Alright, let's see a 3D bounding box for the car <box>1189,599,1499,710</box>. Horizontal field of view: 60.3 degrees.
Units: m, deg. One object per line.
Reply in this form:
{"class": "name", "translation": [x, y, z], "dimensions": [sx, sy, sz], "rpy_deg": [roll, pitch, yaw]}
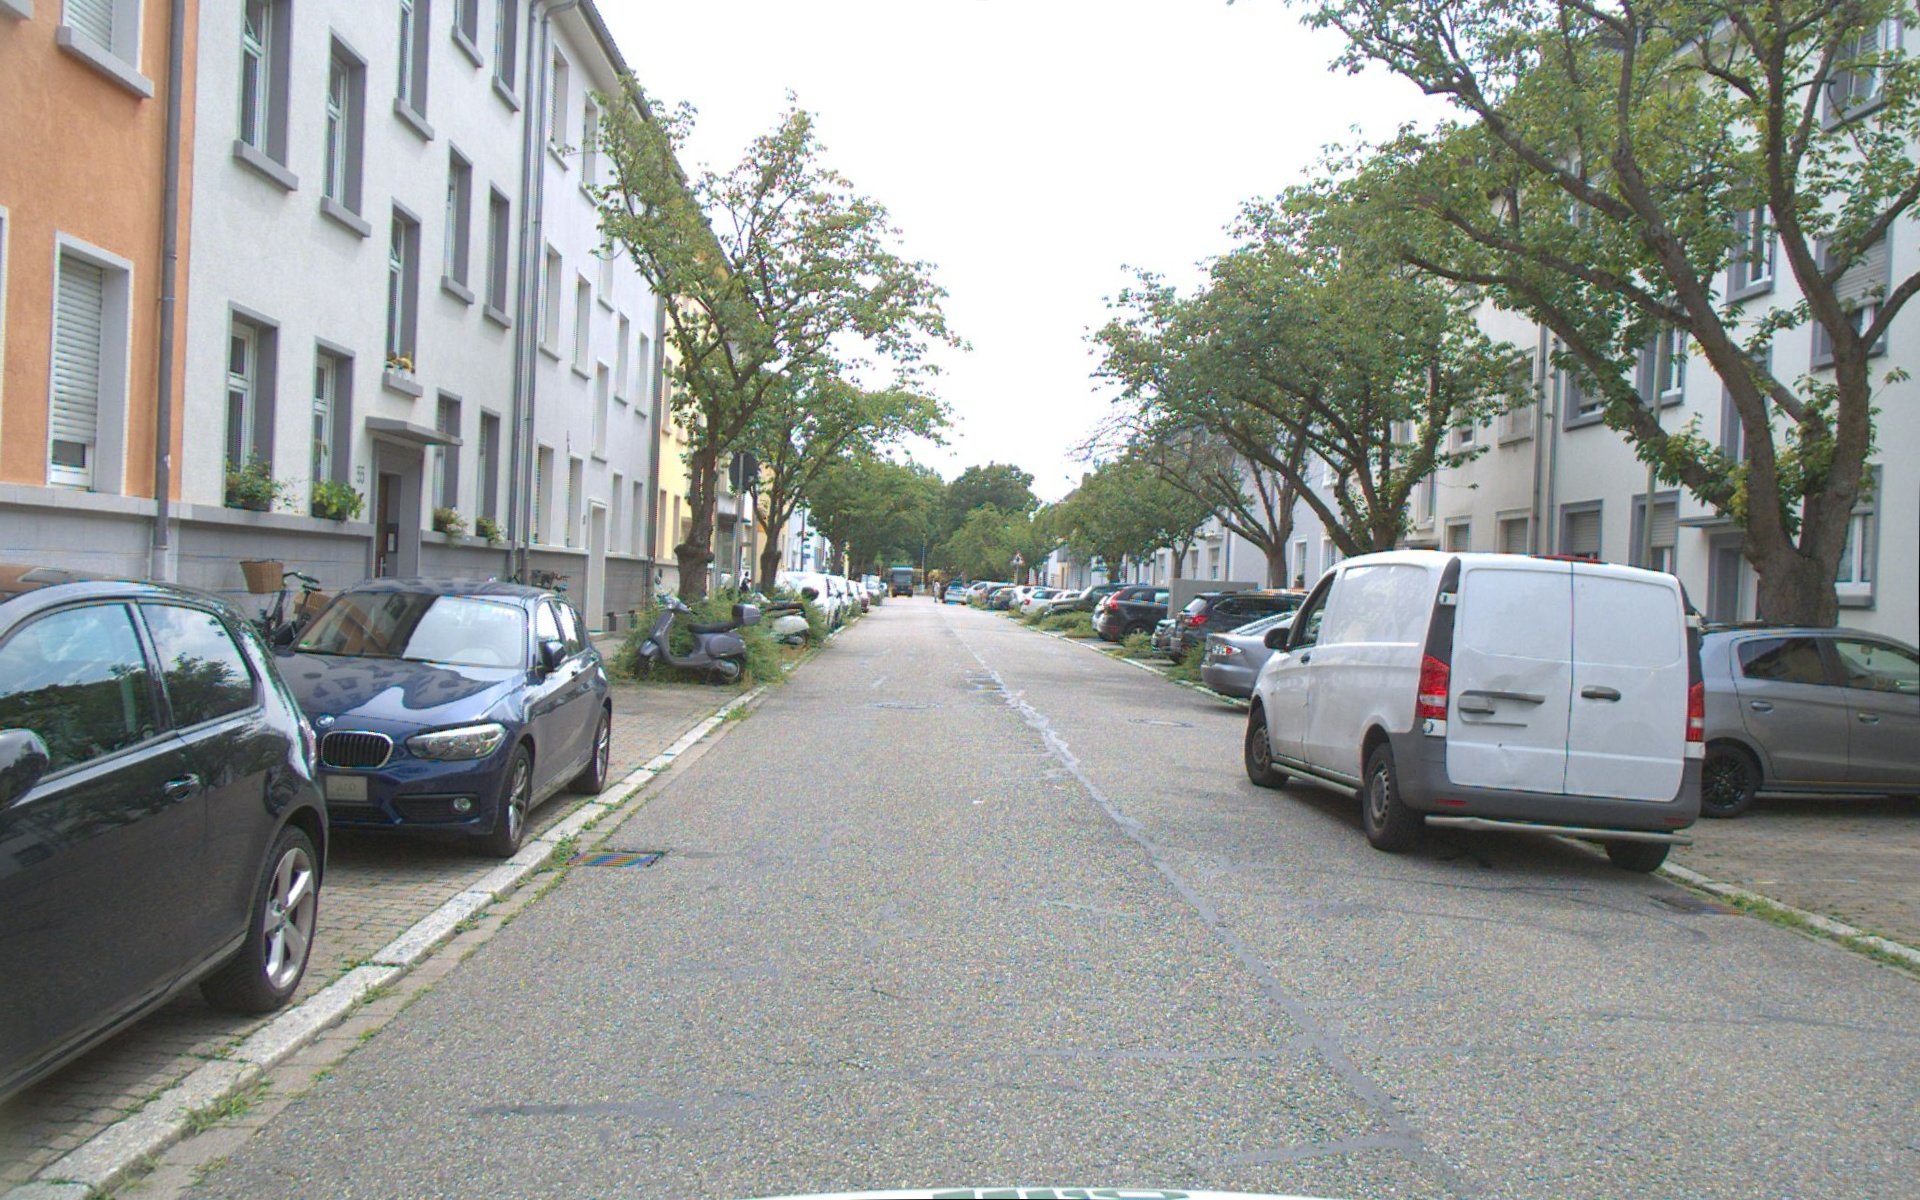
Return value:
{"class": "car", "translation": [5.294, 0.733, 23.135], "dimensions": [3.907, 1.480, 1.766], "rpy_deg": [0, 0, -3]}

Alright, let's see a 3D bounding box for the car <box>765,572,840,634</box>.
{"class": "car", "translation": [-4.263, 0.077, 45.215], "dimensions": [1.722, 1.583, 4.254], "rpy_deg": [2, 0, -2]}

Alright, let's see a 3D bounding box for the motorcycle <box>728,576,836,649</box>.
{"class": "motorcycle", "translation": [-3.739, 0.260, 34.836], "dimensions": [2.206, 1.507, 0.591], "rpy_deg": [0, 0, -29]}

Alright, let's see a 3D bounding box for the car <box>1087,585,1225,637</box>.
{"class": "car", "translation": [5.960, 0.333, 50.559], "dimensions": [3.909, 1.557, 1.766], "rpy_deg": [0, 0, -5]}

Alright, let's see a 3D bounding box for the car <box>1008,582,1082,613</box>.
{"class": "car", "translation": [4.555, -0.144, 88.711], "dimensions": [3.844, 1.661, 1.867], "rpy_deg": [0, 0, -1]}

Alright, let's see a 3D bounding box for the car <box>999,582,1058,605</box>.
{"class": "car", "translation": [4.314, -0.420, 104.362], "dimensions": [3.671, 1.389, 1.773], "rpy_deg": [0, 0, -1]}

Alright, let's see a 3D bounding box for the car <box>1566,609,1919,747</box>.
{"class": "car", "translation": [9.019, 0.840, 18.465], "dimensions": [3.907, 1.445, 1.637], "rpy_deg": [0, 0, -3]}

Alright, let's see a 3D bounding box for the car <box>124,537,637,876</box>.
{"class": "car", "translation": [-3.213, 0.520, 10.117], "dimensions": [1.800, 1.509, 4.118], "rpy_deg": [5, 0, -4]}

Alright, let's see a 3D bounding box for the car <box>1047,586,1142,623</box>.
{"class": "car", "translation": [5.385, 0.184, 66.342], "dimensions": [3.555, 1.480, 1.771], "rpy_deg": [0, 0, -6]}

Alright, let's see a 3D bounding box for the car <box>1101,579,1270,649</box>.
{"class": "car", "translation": [5.818, 0.343, 43.022], "dimensions": [4.128, 1.766, 1.904], "rpy_deg": [0, 0, 0]}

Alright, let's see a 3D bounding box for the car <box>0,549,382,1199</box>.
{"class": "car", "translation": [-2.995, 0.601, 4.141], "dimensions": [1.800, 1.509, 4.090], "rpy_deg": [4, 0, -4]}

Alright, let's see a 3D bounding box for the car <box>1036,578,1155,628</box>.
{"class": "car", "translation": [5.147, 0.119, 63.326], "dimensions": [4.432, 1.890, 1.793], "rpy_deg": [0, 0, 0]}

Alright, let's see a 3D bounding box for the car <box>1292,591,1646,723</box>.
{"class": "car", "translation": [6.259, 0.683, 20.595], "dimensions": [3.907, 1.563, 1.637], "rpy_deg": [0, 0, -3]}

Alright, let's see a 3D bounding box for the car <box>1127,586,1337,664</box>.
{"class": "car", "translation": [5.775, 0.521, 35.408], "dimensions": [4.132, 1.626, 1.902], "rpy_deg": [0, 0, -4]}

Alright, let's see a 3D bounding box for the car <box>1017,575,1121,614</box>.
{"class": "car", "translation": [4.895, -0.253, 74.677], "dimensions": [4.521, 1.693, 1.892], "rpy_deg": [0, 0, -1]}

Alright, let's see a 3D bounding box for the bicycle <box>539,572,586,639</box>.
{"class": "bicycle", "translation": [-6.263, 0.086, 26.120], "dimensions": [0.411, 1.024, 1.434], "rpy_deg": [0, 0, -1]}

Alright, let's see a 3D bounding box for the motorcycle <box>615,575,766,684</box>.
{"class": "motorcycle", "translation": [-3.668, 0.393, 22.486], "dimensions": [1.977, 1.432, 0.790], "rpy_deg": [0, 0, -13]}

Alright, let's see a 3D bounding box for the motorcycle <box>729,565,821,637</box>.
{"class": "motorcycle", "translation": [-4.607, 0.007, 41.140], "dimensions": [0.932, 1.705, 2.433], "rpy_deg": [2, 0, -45]}

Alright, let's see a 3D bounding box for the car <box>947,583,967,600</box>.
{"class": "car", "translation": [-0.249, -0.726, 136.066], "dimensions": [1.653, 1.378, 3.826], "rpy_deg": [0, 0, -1]}

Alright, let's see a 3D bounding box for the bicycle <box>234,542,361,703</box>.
{"class": "bicycle", "translation": [-5.938, 0.188, 14.906], "dimensions": [0.420, 1.357, 1.811], "rpy_deg": [0, 0, 0]}

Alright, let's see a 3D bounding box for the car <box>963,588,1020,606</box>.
{"class": "car", "translation": [2.717, -0.273, 144.457], "dimensions": [4.876, 1.545, 1.767], "rpy_deg": [0, 0, -4]}

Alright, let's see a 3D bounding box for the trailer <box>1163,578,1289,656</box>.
{"class": "trailer", "translation": [6.522, 0.409, 40.755], "dimensions": [2.899, 1.863, 1.401], "rpy_deg": [0, 0, 1]}

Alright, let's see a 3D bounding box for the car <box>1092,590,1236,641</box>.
{"class": "car", "translation": [5.905, 0.448, 48.092], "dimensions": [3.909, 1.435, 1.766], "rpy_deg": [0, 0, -5]}

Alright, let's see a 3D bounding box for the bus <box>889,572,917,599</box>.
{"class": "bus", "translation": [-6.098, -1.501, 175.659], "dimensions": [2.944, 2.809, 8.919], "rpy_deg": [0, 0, -3]}

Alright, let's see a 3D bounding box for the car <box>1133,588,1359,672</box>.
{"class": "car", "translation": [5.640, 0.580, 32.935], "dimensions": [4.131, 1.626, 1.902], "rpy_deg": [0, 0, -4]}

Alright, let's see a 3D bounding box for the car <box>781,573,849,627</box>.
{"class": "car", "translation": [-4.451, 0.004, 51.424], "dimensions": [1.754, 1.518, 4.810], "rpy_deg": [3, 0, -1]}

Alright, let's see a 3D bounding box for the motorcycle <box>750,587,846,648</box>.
{"class": "motorcycle", "translation": [-3.304, 0.352, 33.756], "dimensions": [1.884, 1.212, 0.591], "rpy_deg": [0, 0, -29]}

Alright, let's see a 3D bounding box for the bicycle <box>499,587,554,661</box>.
{"class": "bicycle", "translation": [-6.173, 0.335, 23.596], "dimensions": [0.411, 1.024, 1.434], "rpy_deg": [0, 0, -1]}

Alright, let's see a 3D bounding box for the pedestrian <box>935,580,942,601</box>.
{"class": "pedestrian", "translation": [-1.775, -0.760, 135.347], "dimensions": [0.511, 1.734, 0.444], "rpy_deg": [0, 0, 2]}

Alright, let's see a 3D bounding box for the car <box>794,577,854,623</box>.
{"class": "car", "translation": [-4.867, 0.001, 59.514], "dimensions": [1.879, 1.609, 4.381], "rpy_deg": [0, 0, -1]}

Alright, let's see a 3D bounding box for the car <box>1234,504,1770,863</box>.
{"class": "car", "translation": [3.526, 0.481, 11.875], "dimensions": [1.954, 1.948, 4.700], "rpy_deg": [4, 0, -4]}

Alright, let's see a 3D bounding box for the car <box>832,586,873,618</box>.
{"class": "car", "translation": [-5.181, 0.106, 80.322], "dimensions": [1.839, 1.512, 4.510], "rpy_deg": [0, 0, -2]}

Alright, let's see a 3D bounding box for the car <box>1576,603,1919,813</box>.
{"class": "car", "translation": [7.116, 0.832, 13.628], "dimensions": [3.409, 1.601, 1.813], "rpy_deg": [0, 0, -3]}
